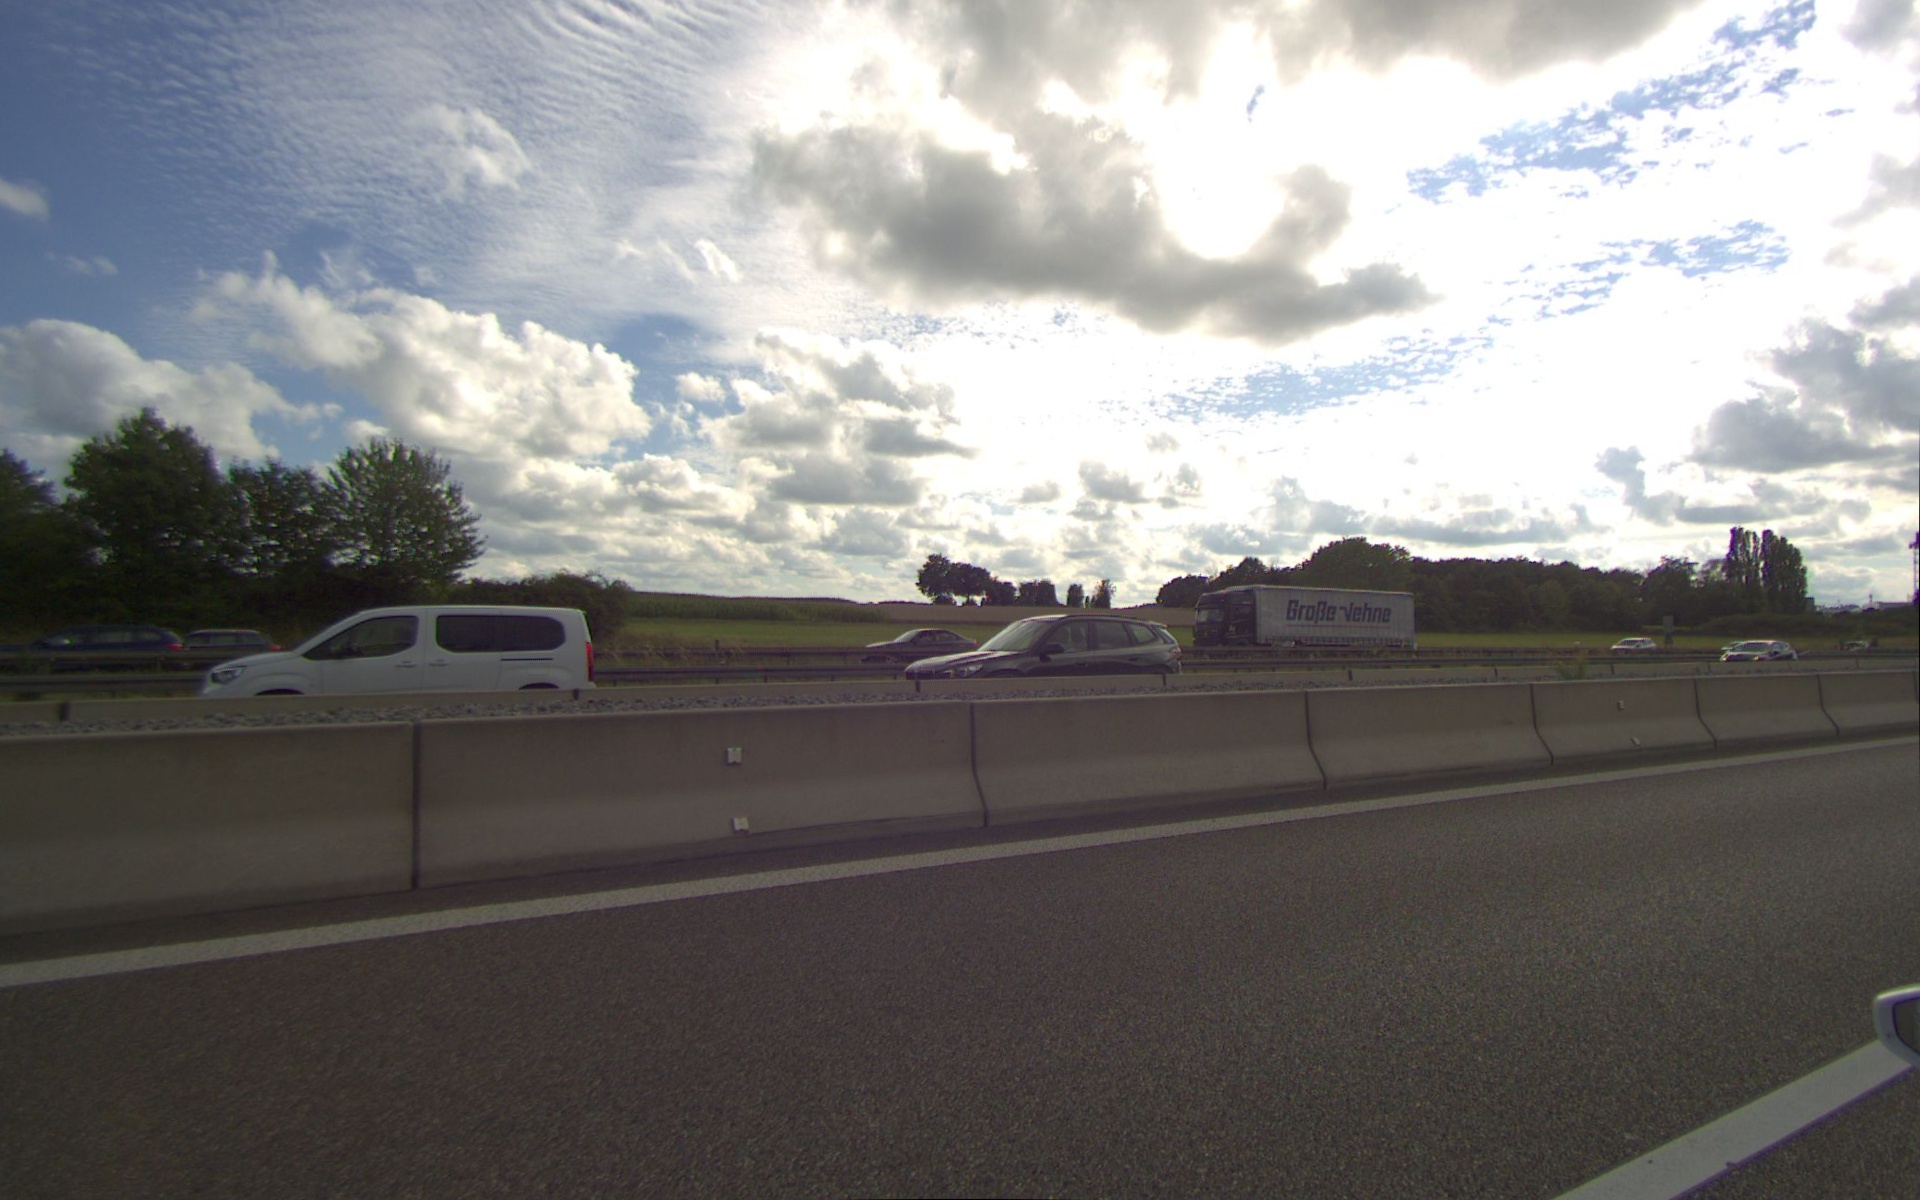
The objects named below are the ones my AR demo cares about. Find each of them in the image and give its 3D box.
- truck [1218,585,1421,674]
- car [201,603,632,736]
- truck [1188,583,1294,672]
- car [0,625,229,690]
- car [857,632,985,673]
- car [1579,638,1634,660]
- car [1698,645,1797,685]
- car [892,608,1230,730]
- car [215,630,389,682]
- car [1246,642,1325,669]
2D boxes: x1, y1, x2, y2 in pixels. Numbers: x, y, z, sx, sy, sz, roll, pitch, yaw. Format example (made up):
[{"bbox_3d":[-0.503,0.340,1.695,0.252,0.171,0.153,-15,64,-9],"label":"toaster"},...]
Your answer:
[{"bbox_3d":[21.525,1.773,59.550,13.960,4.866,3.060,2,-1,-30],"label":"truck"},{"bbox_3d":[-7.189,0.861,13.746,4.885,1.552,1.754,1,-1,-31],"label":"car"},{"bbox_3d":[15.700,1.516,56.147,5.011,4.720,3.033,1,-1,-29],"label":"truck"},{"bbox_3d":[-22.303,1.470,26.343,4.885,1.552,1.754,1,-1,-31],"label":"car"},{"bbox_3d":[-1.429,1.916,37.194,4.469,1.428,1.706,1,-1,-31],"label":"car"},{"bbox_3d":[48.419,3.643,75.246,4.401,1.554,1.720,2,-1,-31],"label":"car"},{"bbox_3d":[33.524,2.735,42.713,4.662,1.552,1.755,1,-1,-31],"label":"car"},{"bbox_3d":[1.570,0.935,14.824,4.884,1.552,1.755,1,-1,-30],"label":"car"},{"bbox_3d":[-21.878,1.835,33.626,4.752,1.585,1.737,1,-1,-32],"label":"car"},{"bbox_3d":[16.906,2.865,52.180,4.064,1.330,1.601,1,-1,-30],"label":"car"}]
